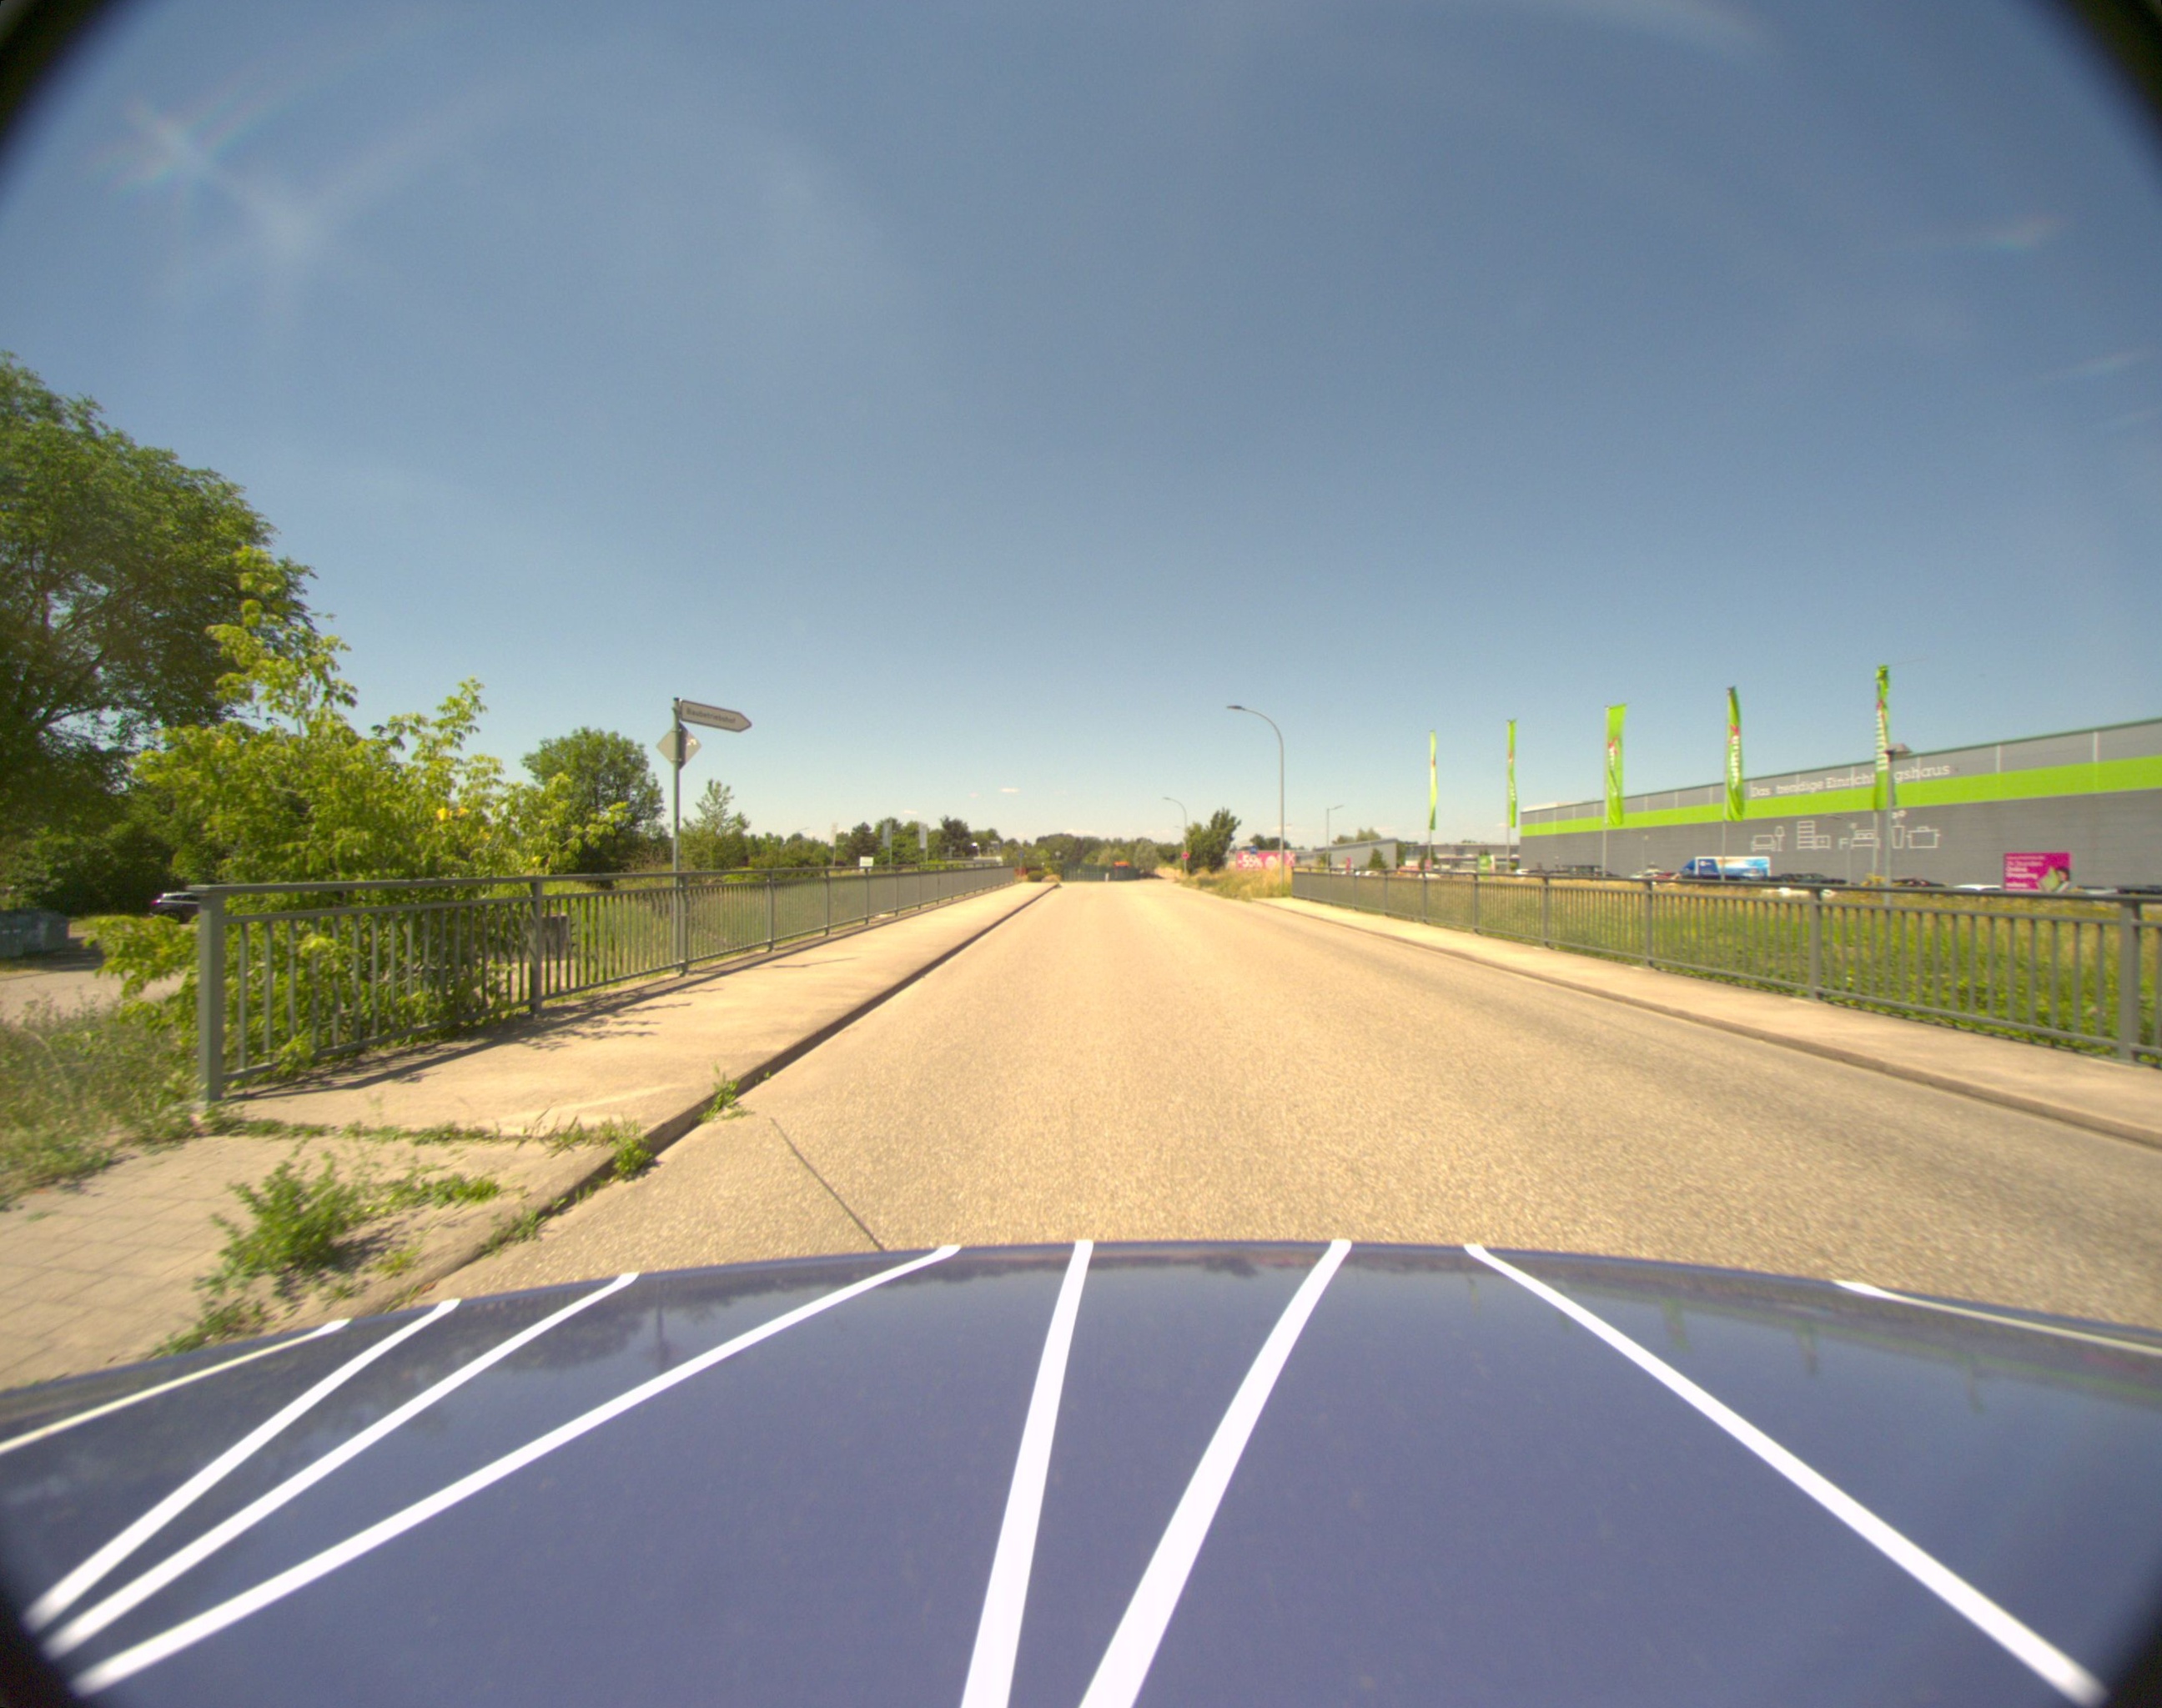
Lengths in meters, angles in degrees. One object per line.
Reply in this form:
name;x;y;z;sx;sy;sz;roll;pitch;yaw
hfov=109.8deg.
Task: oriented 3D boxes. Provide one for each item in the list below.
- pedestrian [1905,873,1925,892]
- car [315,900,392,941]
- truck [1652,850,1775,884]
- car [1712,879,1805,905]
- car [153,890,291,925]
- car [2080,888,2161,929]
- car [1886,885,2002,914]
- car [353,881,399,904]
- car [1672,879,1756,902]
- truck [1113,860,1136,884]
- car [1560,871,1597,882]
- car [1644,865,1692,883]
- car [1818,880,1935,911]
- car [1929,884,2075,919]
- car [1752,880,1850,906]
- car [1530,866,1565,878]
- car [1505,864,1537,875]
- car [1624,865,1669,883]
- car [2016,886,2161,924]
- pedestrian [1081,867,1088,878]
pedestrian;62.565;2.131;56.995;0.639;1.443;0.766;-1;-1;2
car;-33.584;3.017;35.223;2.004;1.614;4.501;1;-1;-36
truck;53.136;1.150;64.063;7.755;2.667;2.969;-2;-2;39
car;43.242;2.404;48.571;3.995;1.503;2.001;-1;-1;4
car;-45.376;2.789;40.319;4.522;1.614;1.995;1;-1;-37
car;41.170;2.030;28.690;3.995;1.408;2.001;-1;-1;4
car;48.464;2.540;42.751;3.995;1.503;2.001;-1;-1;4
car;-53.154;2.882;57.372;2.004;1.614;4.501;1;-1;-36
car;43.418;2.507;52.205;3.995;1.458;2.001;-1;-1;4
truck;8.182;3.358;141.553;2.844;4.170;8.143;-1;-2;12
car;71.015;3.166;108.558;3.995;1.513;2.002;0;-2;7
car;68.974;2.351;89.377;3.995;2.001;1.912;-1;-1;6
car;42.614;2.231;40.780;3.995;1.503;2.001;-1;-1;4
car;42.018;2.144;34.755;3.995;1.435;2.001;-1;-1;4
car;43.388;2.354;45.836;3.995;1.428;1.847;-1;-1;4
car;70.842;2.729;115.344;3.995;1.728;2.001;-1;0;6
car;71.107;2.486;122.847;3.995;1.728;2.001;-1;0;6
car;68.845;2.415;92.556;3.993;2.001;1.913;-2;-1;11
car;41.949;2.072;31.379;3.995;1.401;2.001;-1;-1;4
pedestrian;0.679;3.602;147.265;1.303;2.001;1.218;-1;-2;10
